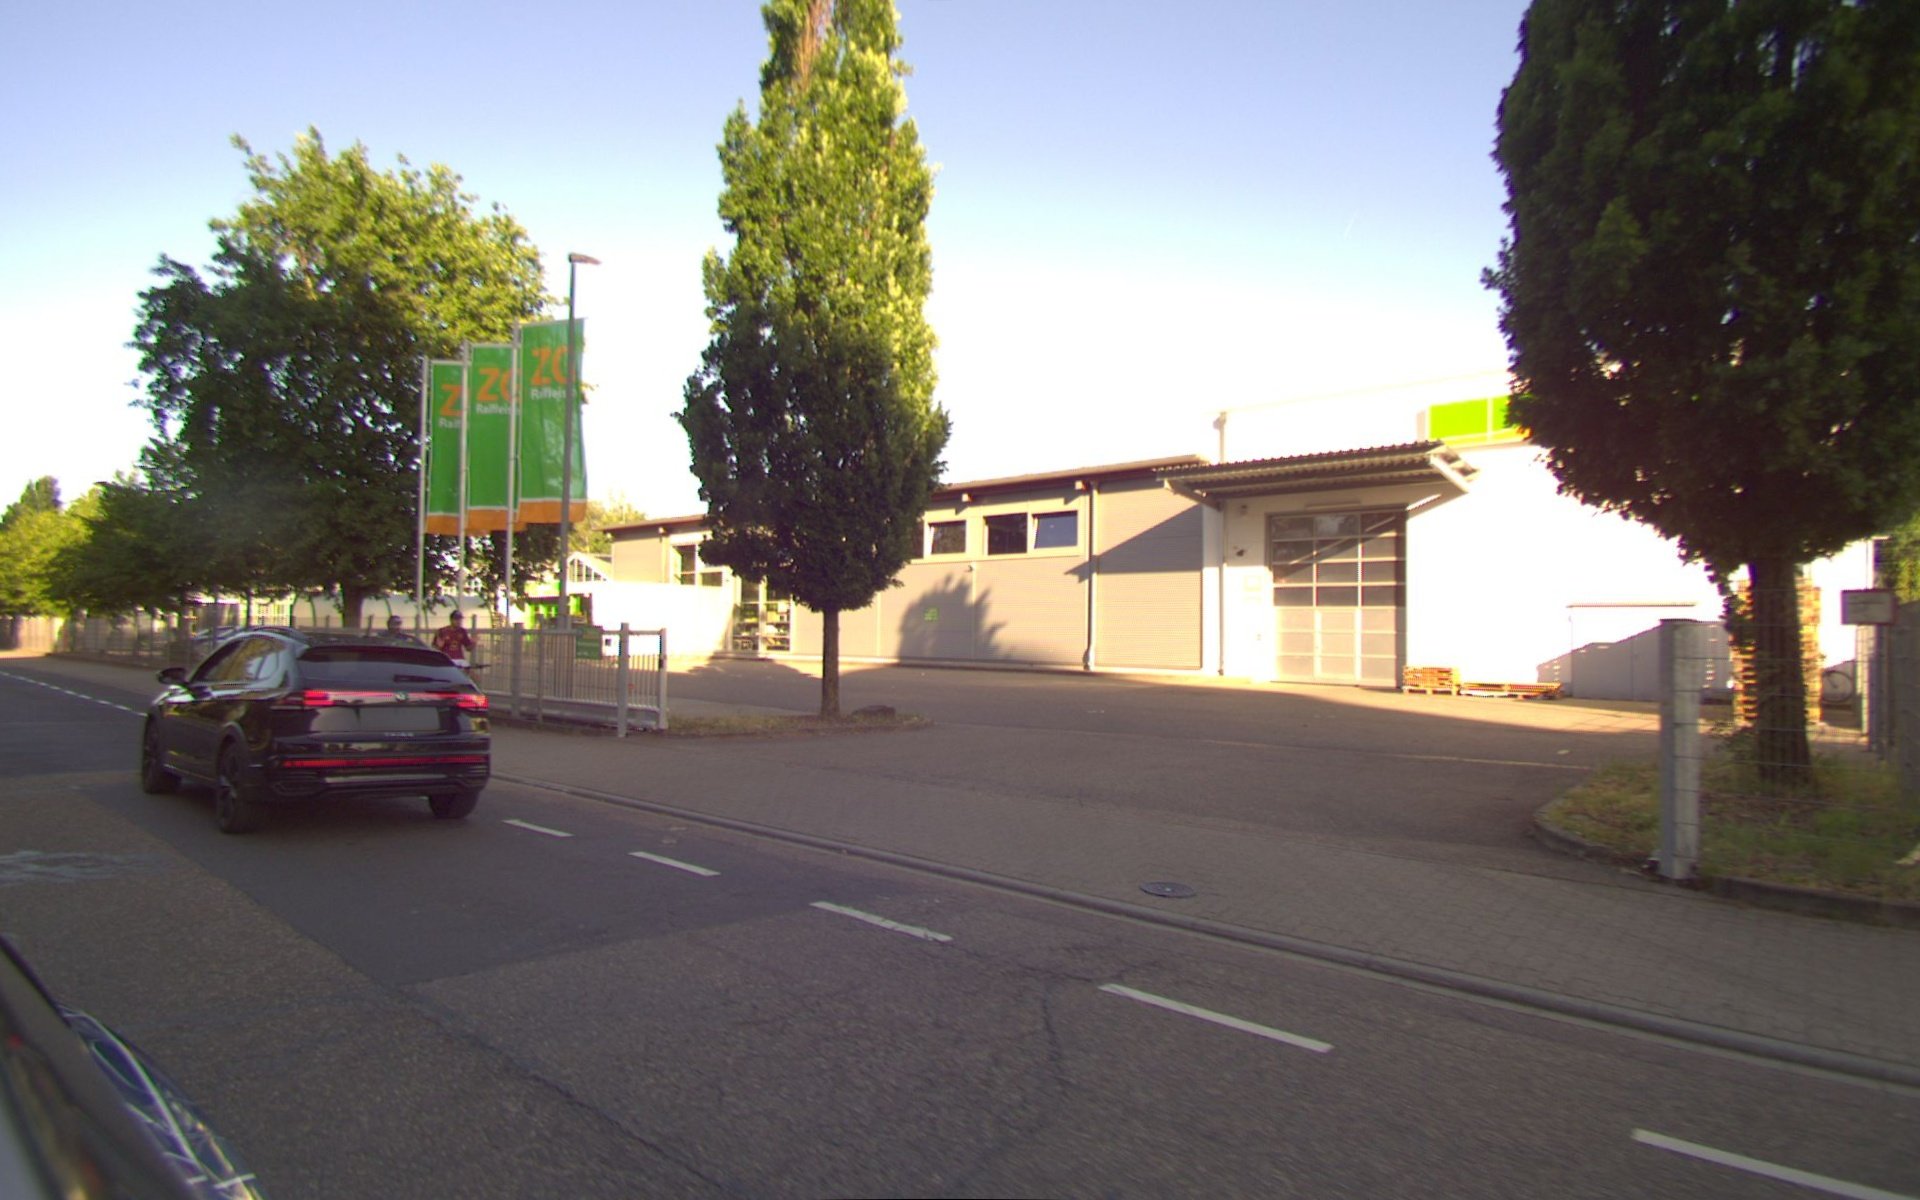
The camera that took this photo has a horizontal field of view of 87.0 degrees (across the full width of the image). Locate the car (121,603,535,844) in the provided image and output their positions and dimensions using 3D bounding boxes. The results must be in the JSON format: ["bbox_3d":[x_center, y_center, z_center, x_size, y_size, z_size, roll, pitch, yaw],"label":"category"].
[{"bbox_3d":[-5.445,0.908,8.515,4.109,1.538,1.722,-2,-6,41],"label":"car"}]

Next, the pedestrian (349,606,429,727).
[{"bbox_3d":[-8.586,0.973,15.212,1.057,1.734,0.713,-2,-2,41],"label":"pedestrian"}]

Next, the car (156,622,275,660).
[{"bbox_3d":[-31.653,1.750,43.104,1.804,1.462,3.689,-2,-5,39],"label":"car"}]

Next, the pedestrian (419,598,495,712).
[{"bbox_3d":[-7.969,0.860,16.033,1.057,1.734,0.713,-2,-2,41],"label":"pedestrian"}]

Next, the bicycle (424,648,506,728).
[{"bbox_3d":[-7.803,1.358,15.917,1.868,1.157,0.465,-2,-1,41],"label":"bicycle"}]

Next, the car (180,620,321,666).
[{"bbox_3d":[-25.872,1.606,36.999,1.785,1.523,3.849,-2,-5,41],"label":"car"}]

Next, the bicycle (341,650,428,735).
[{"bbox_3d":[-8.723,1.366,15.301,2.200,1.157,0.441,-2,-1,41],"label":"bicycle"}]
